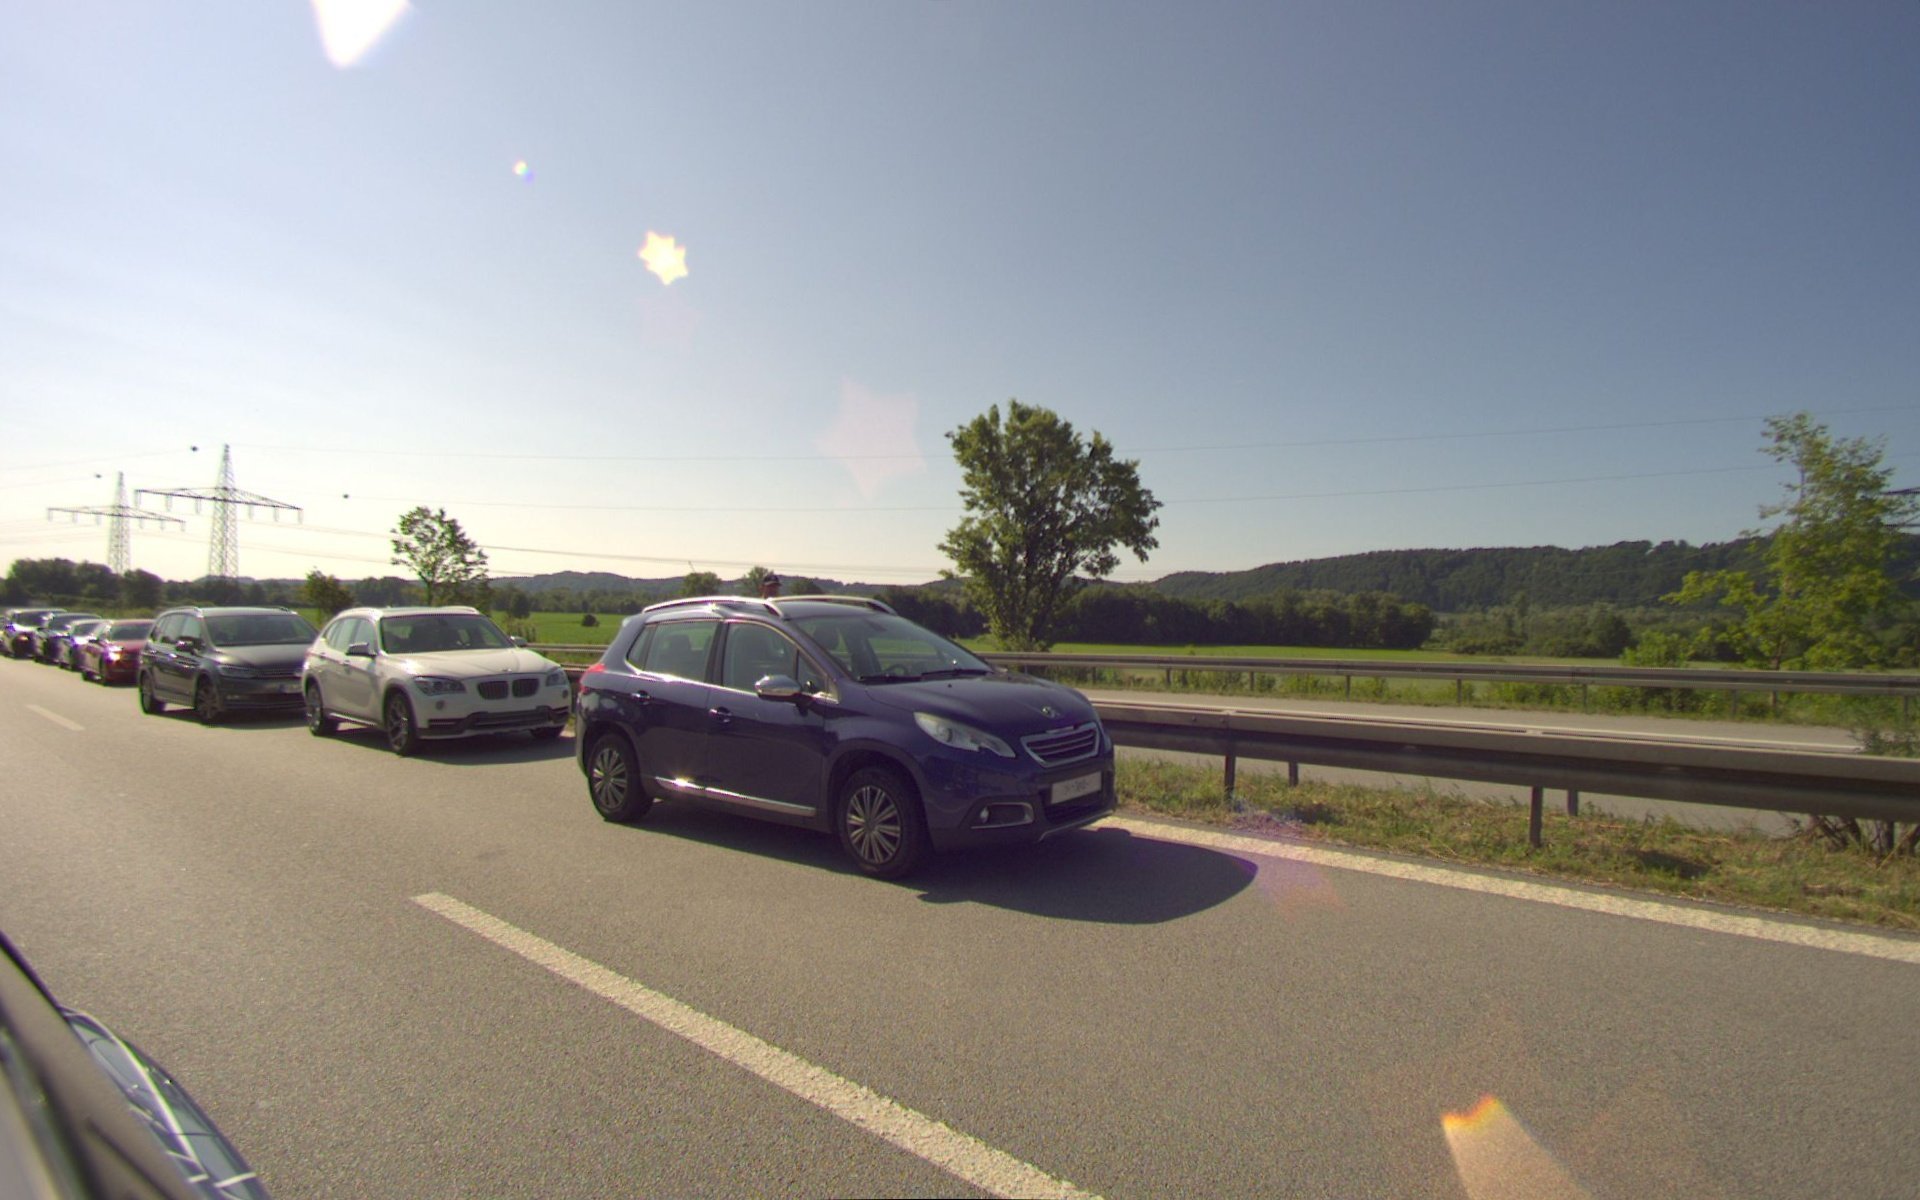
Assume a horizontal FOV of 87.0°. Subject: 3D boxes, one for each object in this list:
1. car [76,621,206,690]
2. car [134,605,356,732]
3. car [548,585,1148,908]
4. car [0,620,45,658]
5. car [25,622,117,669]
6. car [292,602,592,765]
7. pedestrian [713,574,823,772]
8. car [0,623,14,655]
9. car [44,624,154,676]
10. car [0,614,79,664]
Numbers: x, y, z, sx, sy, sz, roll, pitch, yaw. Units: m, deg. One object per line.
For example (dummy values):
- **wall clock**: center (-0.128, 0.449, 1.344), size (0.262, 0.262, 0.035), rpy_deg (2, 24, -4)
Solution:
- **car**: center (-19.166, 1.246, 23.623), size (4.117, 1.470, 1.795), rpy_deg (-1, -2, 43)
- **car**: center (-10.789, 0.922, 15.164), size (4.115, 1.628, 1.796), rpy_deg (-1, -1, 41)
- **car**: center (-0.920, 0.726, 6.753), size (3.944, 1.546, 1.671), rpy_deg (-1, 0, 39)
- **car**: center (-40.510, 1.640, 43.001), size (3.998, 1.542, 1.973), rpy_deg (-1, -2, 41)
- **car**: center (-29.815, 1.494, 33.907), size (3.999, 1.466, 1.869), rpy_deg (-1, -2, 42)
- **car**: center (-6.199, 0.854, 11.908), size (4.163, 1.586, 1.808), rpy_deg (-1, -1, 42)
- **pedestrian**: center (-1.813, 0.662, 9.552), size (0.814, 1.764, 0.663), rpy_deg (-2, -2, 41)
- **car**: center (-47.510, 1.891, 49.103), size (3.998, 1.542, 1.973), rpy_deg (-1, -2, 41)
- **car**: center (-25.352, 1.415, 29.762), size (3.998, 1.409, 1.870), rpy_deg (-1, -2, 41)
- **car**: center (-35.030, 1.450, 38.380), size (4.197, 1.801, 1.877), rpy_deg (-1, -2, 41)
